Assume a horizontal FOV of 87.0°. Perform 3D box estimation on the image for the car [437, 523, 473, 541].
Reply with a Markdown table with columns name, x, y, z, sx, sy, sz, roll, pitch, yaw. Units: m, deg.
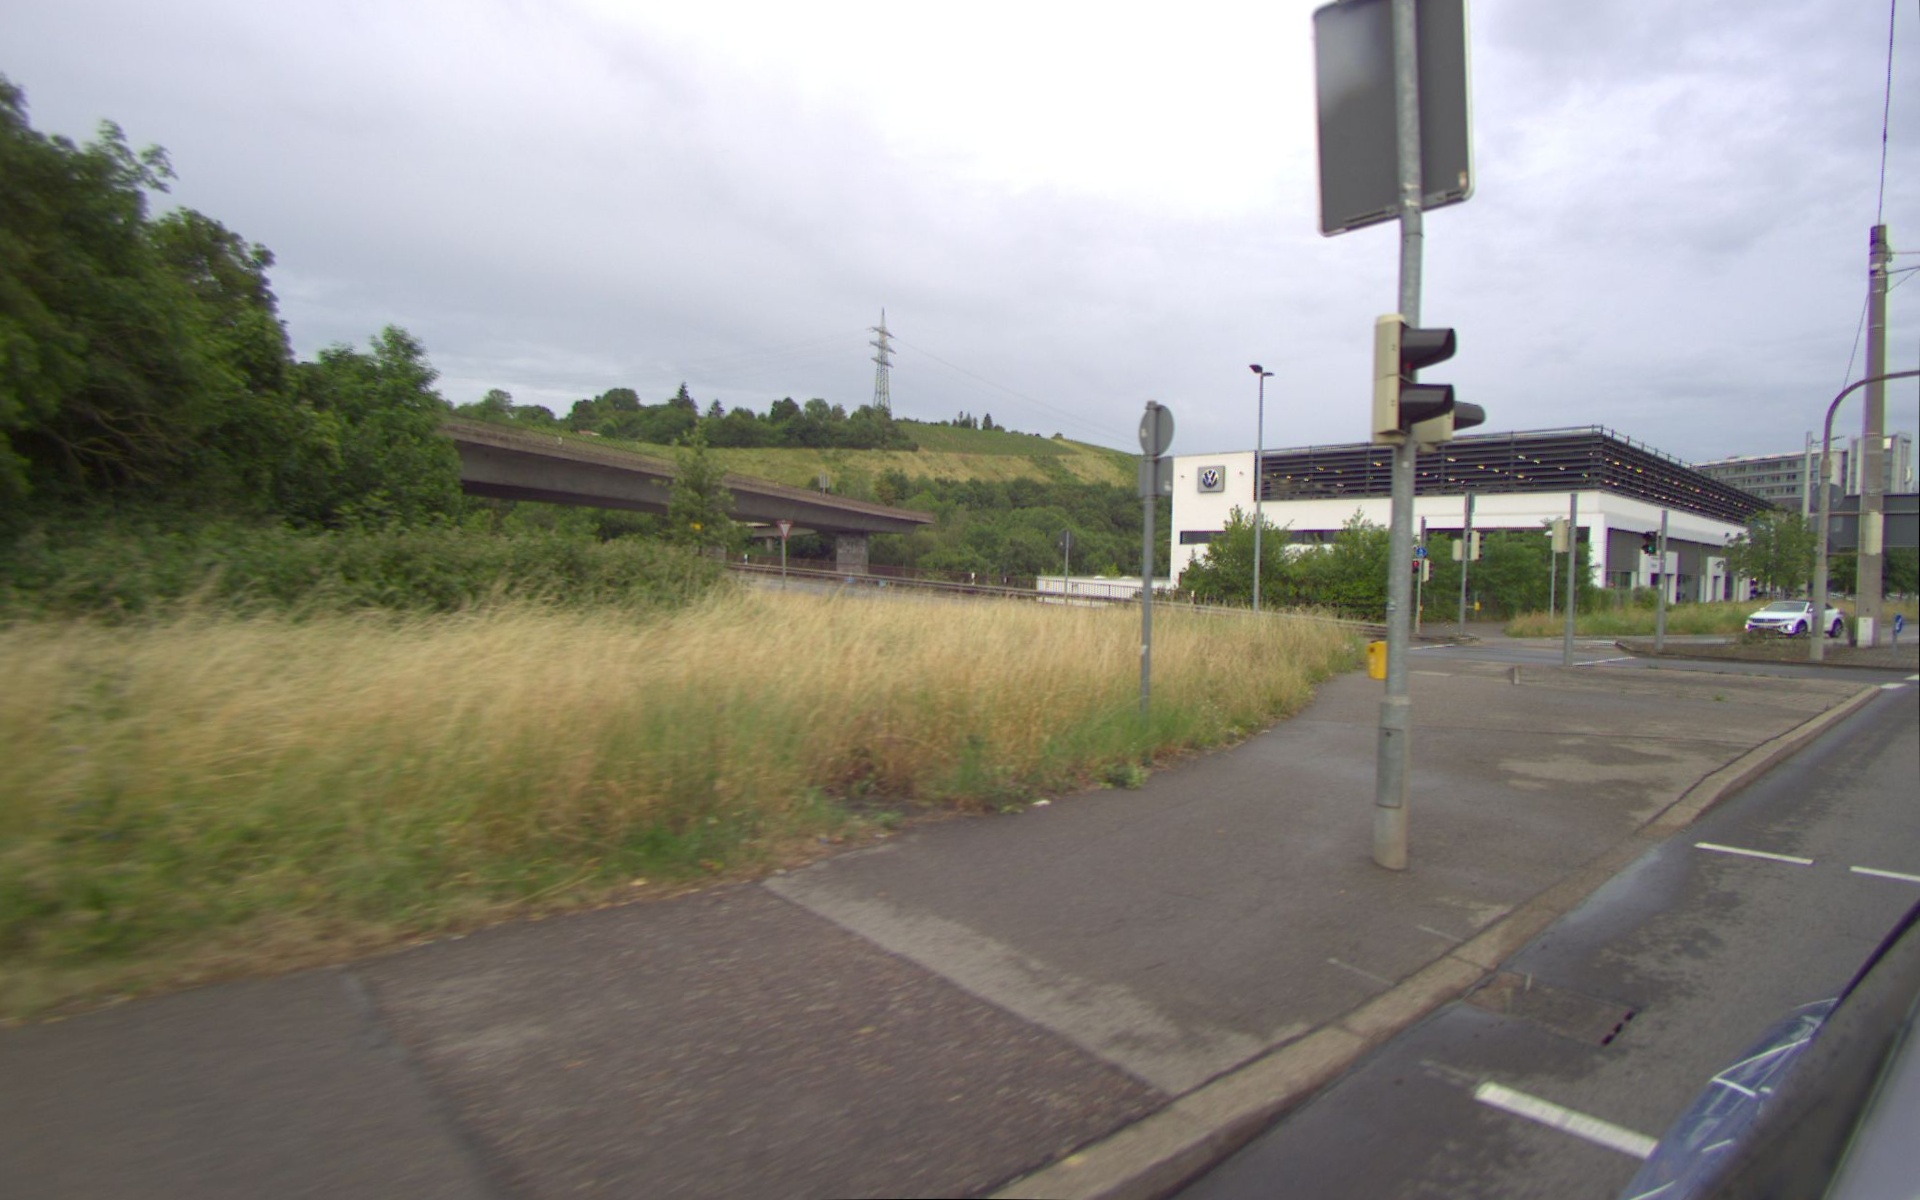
| name | x | y | z | sx | sy | sz | roll | pitch | yaw |
| --- | --- | --- | --- | --- | --- | --- | --- | --- | --- |
| car | -47.311 | -6.373 | 94.730 | 1.872 | 1.504 | 3.990 | 0 | 1 | -45 |

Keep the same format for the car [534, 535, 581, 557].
| name | x | y | z | sx | sy | sz | roll | pitch | yaw |
| --- | --- | --- | --- | --- | --- | --- | --- | --- | --- |
| car | -30.196 | -4.039 | 75.895 | 1.872 | 1.504 | 3.990 | 0 | 1 | -45 |

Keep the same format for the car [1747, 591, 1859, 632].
| name | x | y | z | sx | sy | sz | roll | pitch | yaw |
| --- | --- | --- | --- | --- | --- | --- | --- | --- | --- |
| car | 33.754 | 0.422 | 40.530 | 4.026 | 1.559 | 2.044 | 0 | 1 | -27 |
